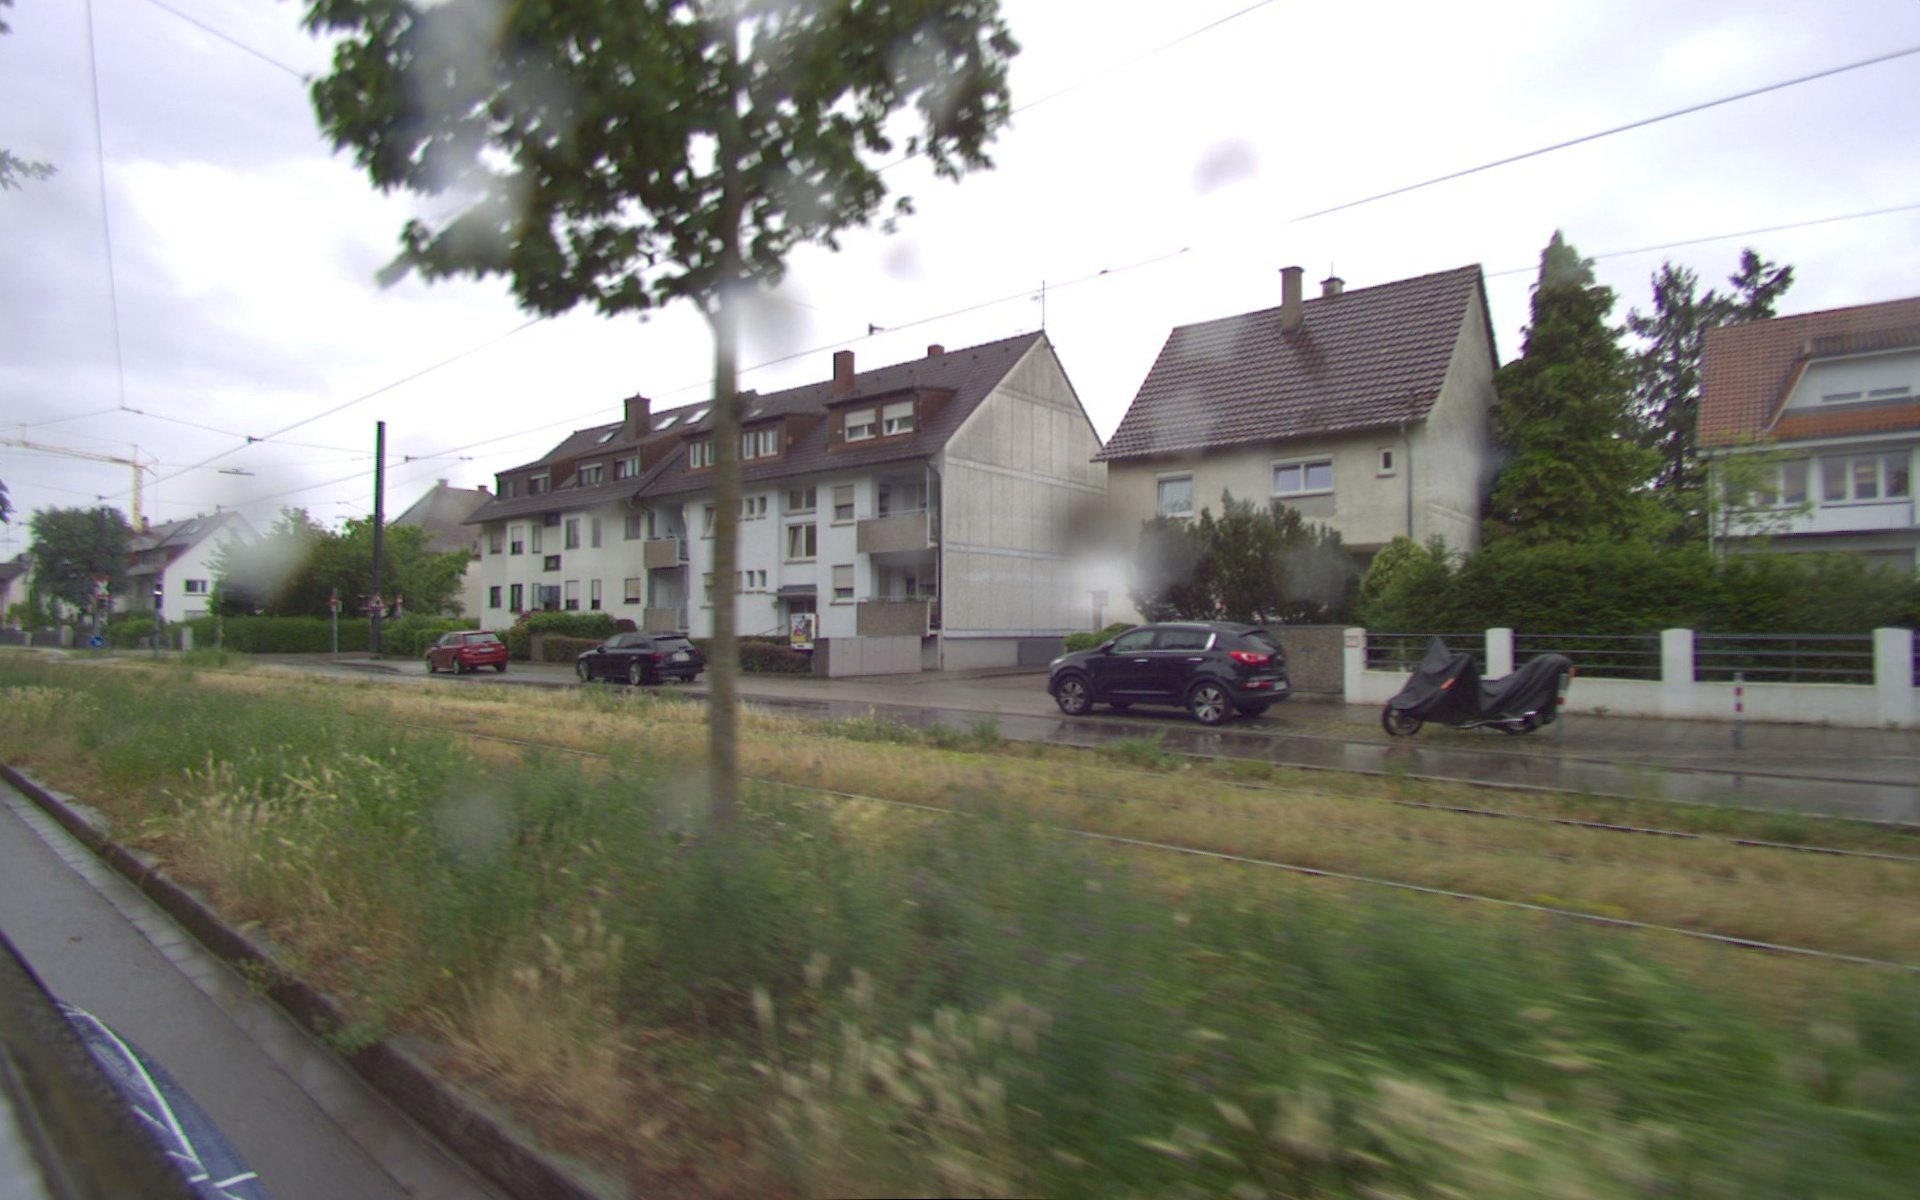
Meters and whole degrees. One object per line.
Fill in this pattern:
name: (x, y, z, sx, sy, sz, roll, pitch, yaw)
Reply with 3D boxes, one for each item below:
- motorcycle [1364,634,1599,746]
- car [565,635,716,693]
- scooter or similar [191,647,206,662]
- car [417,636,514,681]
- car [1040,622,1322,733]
motorcycle: (7.250, 1.217, 14.181, 2.646, 1.421, 1.269, 0, 0, -7)
car: (-9.117, 1.765, 28.629, 4.761, 1.421, 1.972, -2, -1, 43)
scooter or similar: (-47.436, 3.395, 63.017, 1.256, 0.917, 0.343, -2, -3, 36)
car: (-17.604, 2.045, 35.981, 4.000, 1.468, 1.778, -2, -1, 43)
car: (3.754, 1.235, 17.584, 4.383, 1.687, 1.974, -1, -2, 39)
